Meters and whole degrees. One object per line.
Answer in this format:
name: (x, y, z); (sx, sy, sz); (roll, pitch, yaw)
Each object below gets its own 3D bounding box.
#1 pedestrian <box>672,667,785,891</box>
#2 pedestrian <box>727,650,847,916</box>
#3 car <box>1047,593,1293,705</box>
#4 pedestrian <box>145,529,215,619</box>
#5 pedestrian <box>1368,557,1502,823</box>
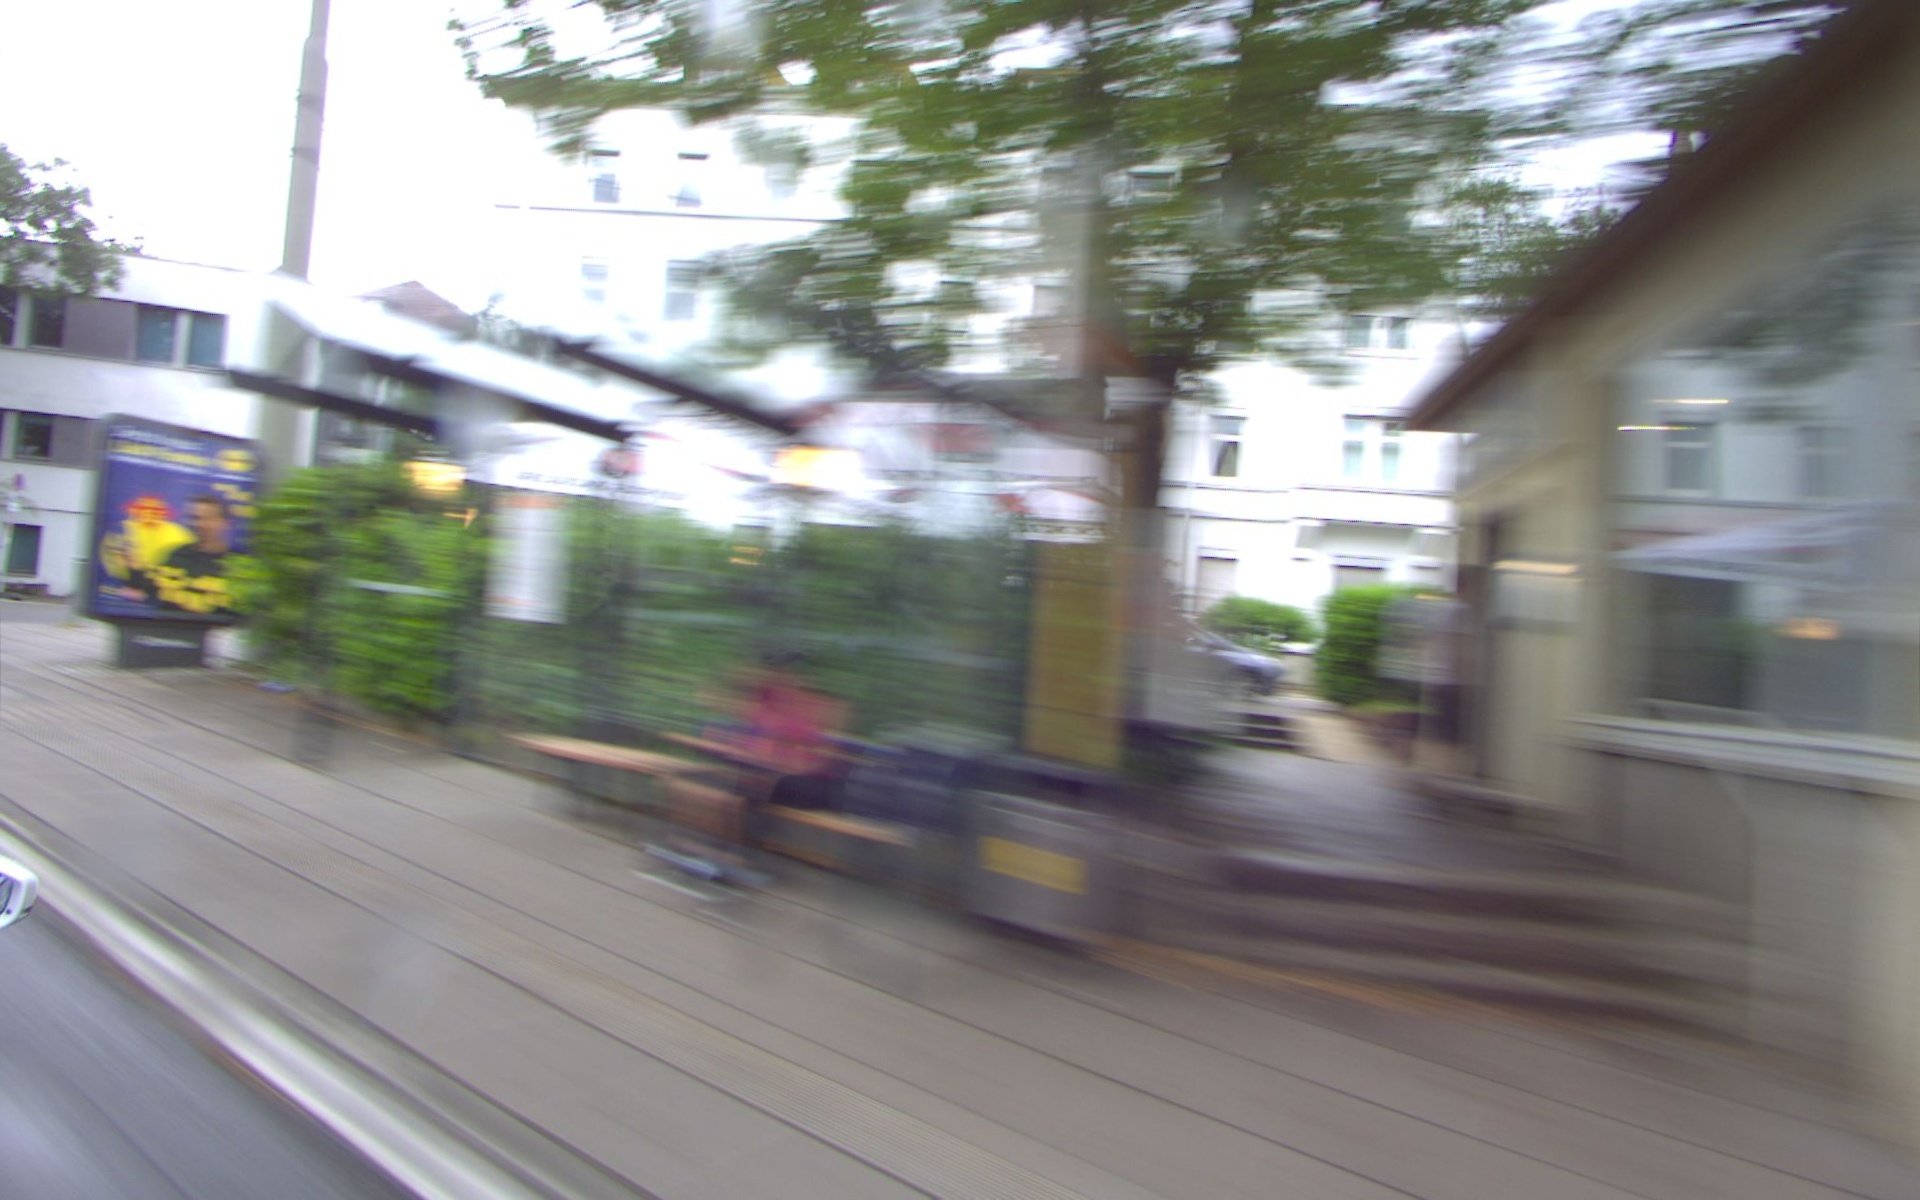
pedestrian: (-1.129, 0.855, 4.924); (0.312, 1.008, 0.325); (8, 3, 28)
pedestrian: (-0.811, 0.834, 4.732); (0.312, 1.166, 0.325); (8, 3, 28)
car: (3.675, 0.876, 18.009); (3.928, 1.324, 1.589); (9, -2, -1)
pedestrian: (-15.880, -0.515, 20.500); (0.661, 1.720, 0.745); (6, -1, -6)
pedestrian: (3.408, 0.634, 7.234); (0.452, 1.801, 0.490); (9, -2, -15)
